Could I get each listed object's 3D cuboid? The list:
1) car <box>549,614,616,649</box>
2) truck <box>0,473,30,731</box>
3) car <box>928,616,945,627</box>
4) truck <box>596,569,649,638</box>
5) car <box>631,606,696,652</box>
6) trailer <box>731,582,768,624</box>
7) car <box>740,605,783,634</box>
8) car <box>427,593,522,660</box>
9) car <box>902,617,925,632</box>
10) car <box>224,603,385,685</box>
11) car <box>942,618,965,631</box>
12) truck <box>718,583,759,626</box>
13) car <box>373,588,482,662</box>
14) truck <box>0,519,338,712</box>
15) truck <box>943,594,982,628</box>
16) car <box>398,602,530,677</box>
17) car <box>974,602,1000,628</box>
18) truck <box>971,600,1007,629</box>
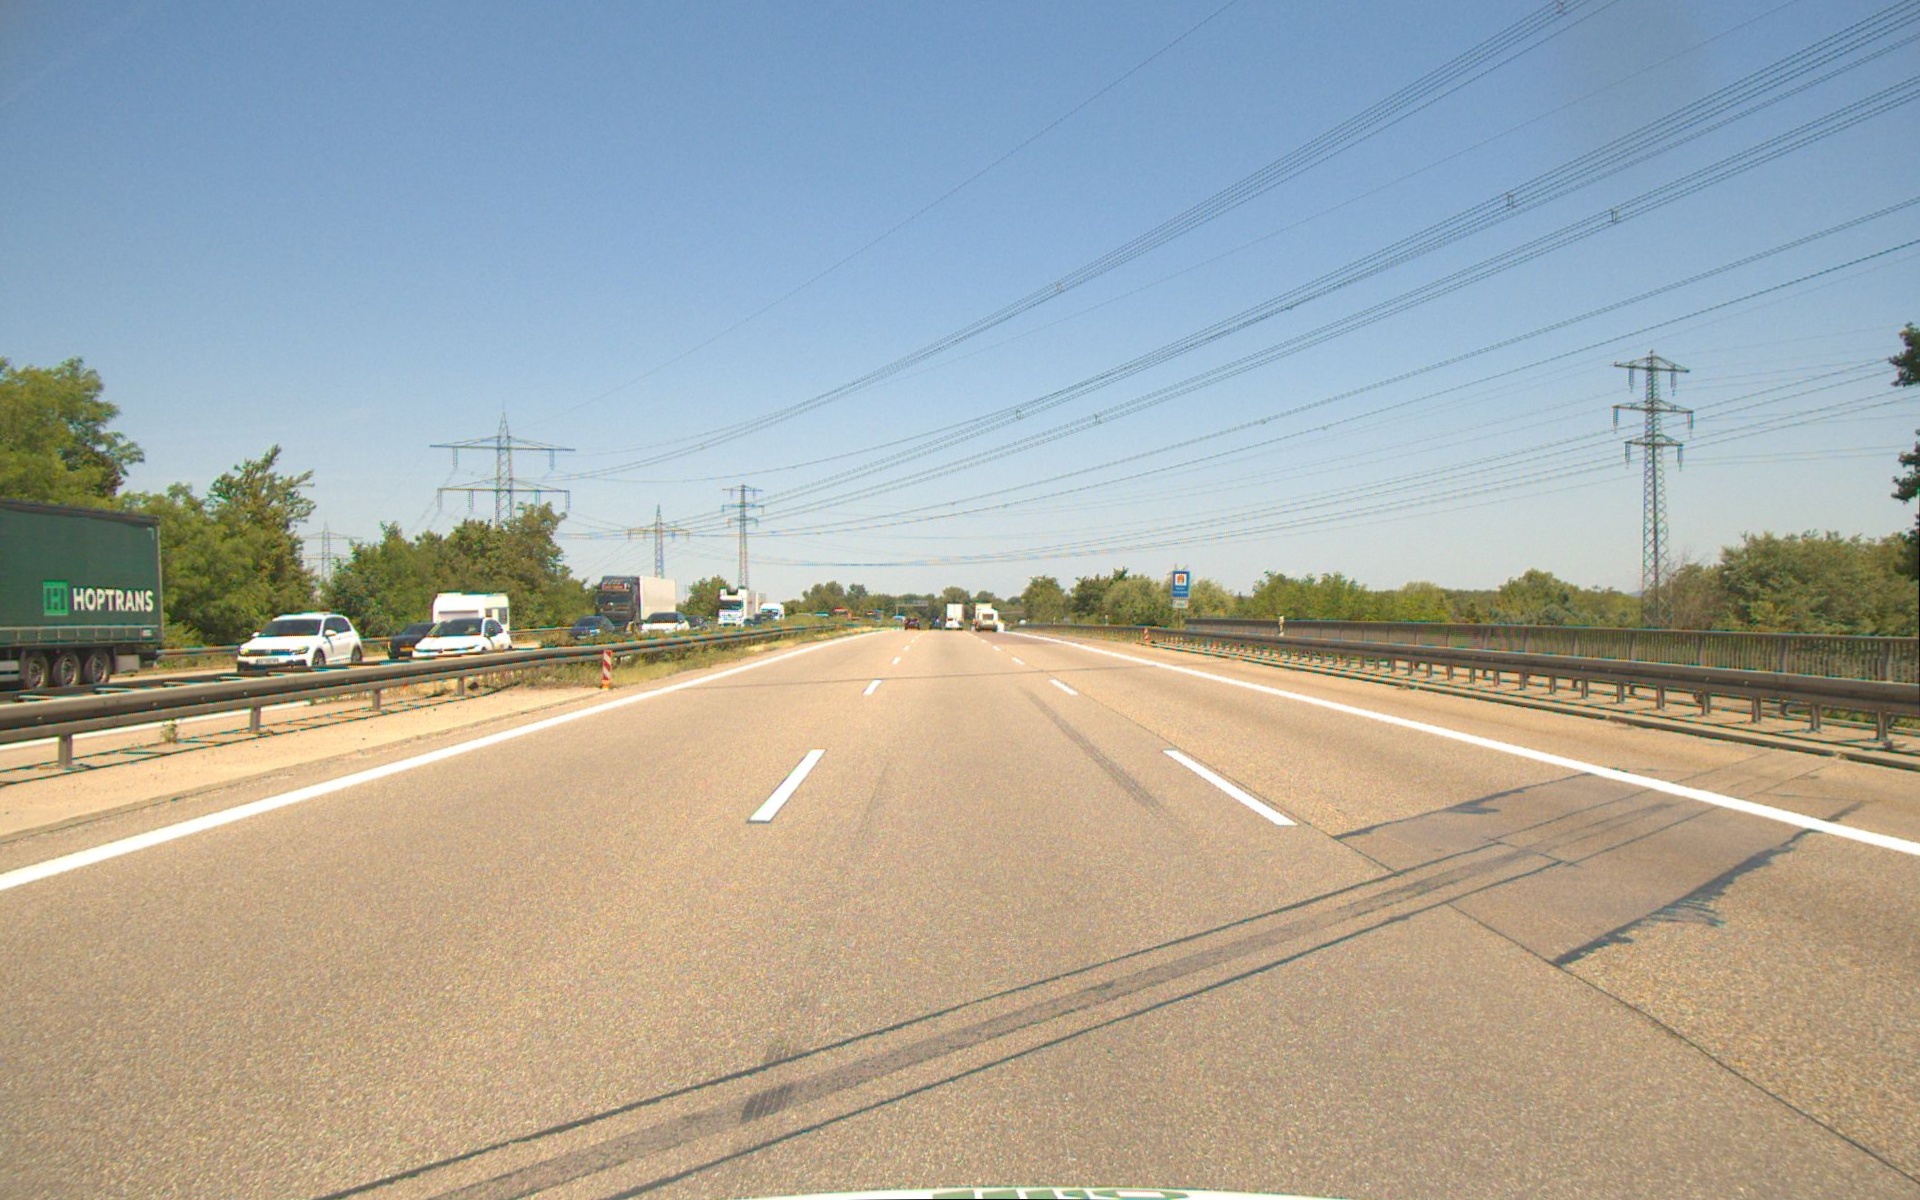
[{"bbox_3d":[-19.712,1.618,86.657,2.432,1.665,4.749,-2,0,-1],"label":"car"},{"bbox_3d":[-16.251,0.003,21.606,2.798,3.987,9.494,1,0,0],"label":"truck"},{"bbox_3d":[-3.534,3.278,248.692,1.789,1.574,4.322,1,-1,9],"label":"car"},{"bbox_3d":[-21.212,0.210,104.118,2.374,4.183,4.919,1,0,-1],"label":"truck"},{"bbox_3d":[-13.756,1.317,76.975,2.251,2.049,4.556,1,0,-1],"label":"car"},{"bbox_3d":[-21.694,0.297,170.845,2.783,4.237,8.325,1,0,-1],"label":"trailer"},{"bbox_3d":[-14.151,1.374,118.229,2.432,1.965,5.738,1,0,-1],"label":"car"},{"bbox_3d":[-20.618,1.089,70.533,2.369,2.660,5.715,-2,0,-1],"label":"car"},{"bbox_3d":[-5.282,2.775,188.428,1.789,1.574,4.322,1,-1,9],"label":"car"},{"bbox_3d":[-16.397,1.048,41.691,2.032,1.863,5.107,-2,0,-1],"label":"car"},{"bbox_3d":[-0.818,3.049,204.969,1.789,1.574,4.322,1,-1,14],"label":"car"},{"bbox_3d":[-21.551,0.405,161.237,2.637,4.019,10.591,1,0,-1],"label":"truck"},{"bbox_3d":[-20.481,0.914,63.943,2.369,2.660,5.715,-2,0,-1],"label":"car"},{"bbox_3d":[-20.485,0.303,41.660,3.178,3.869,17.011,1,0,0],"label":"truck"},{"bbox_3d":[0.519,1.739,262.106,3.588,5.106,16.030,1,0,9],"label":"truck"},{"bbox_3d":[-13.186,0.998,44.336,2.032,1.822,5.107,-2,0,-1],"label":"car"},{"bbox_3d":[2.604,1.438,161.267,2.392,2.362,5.320,-1,0,-1],"label":"car"},{"bbox_3d":[4.680,2.229,260.234,3.113,4.380,16.030,1,0,10],"label":"truck"}]
